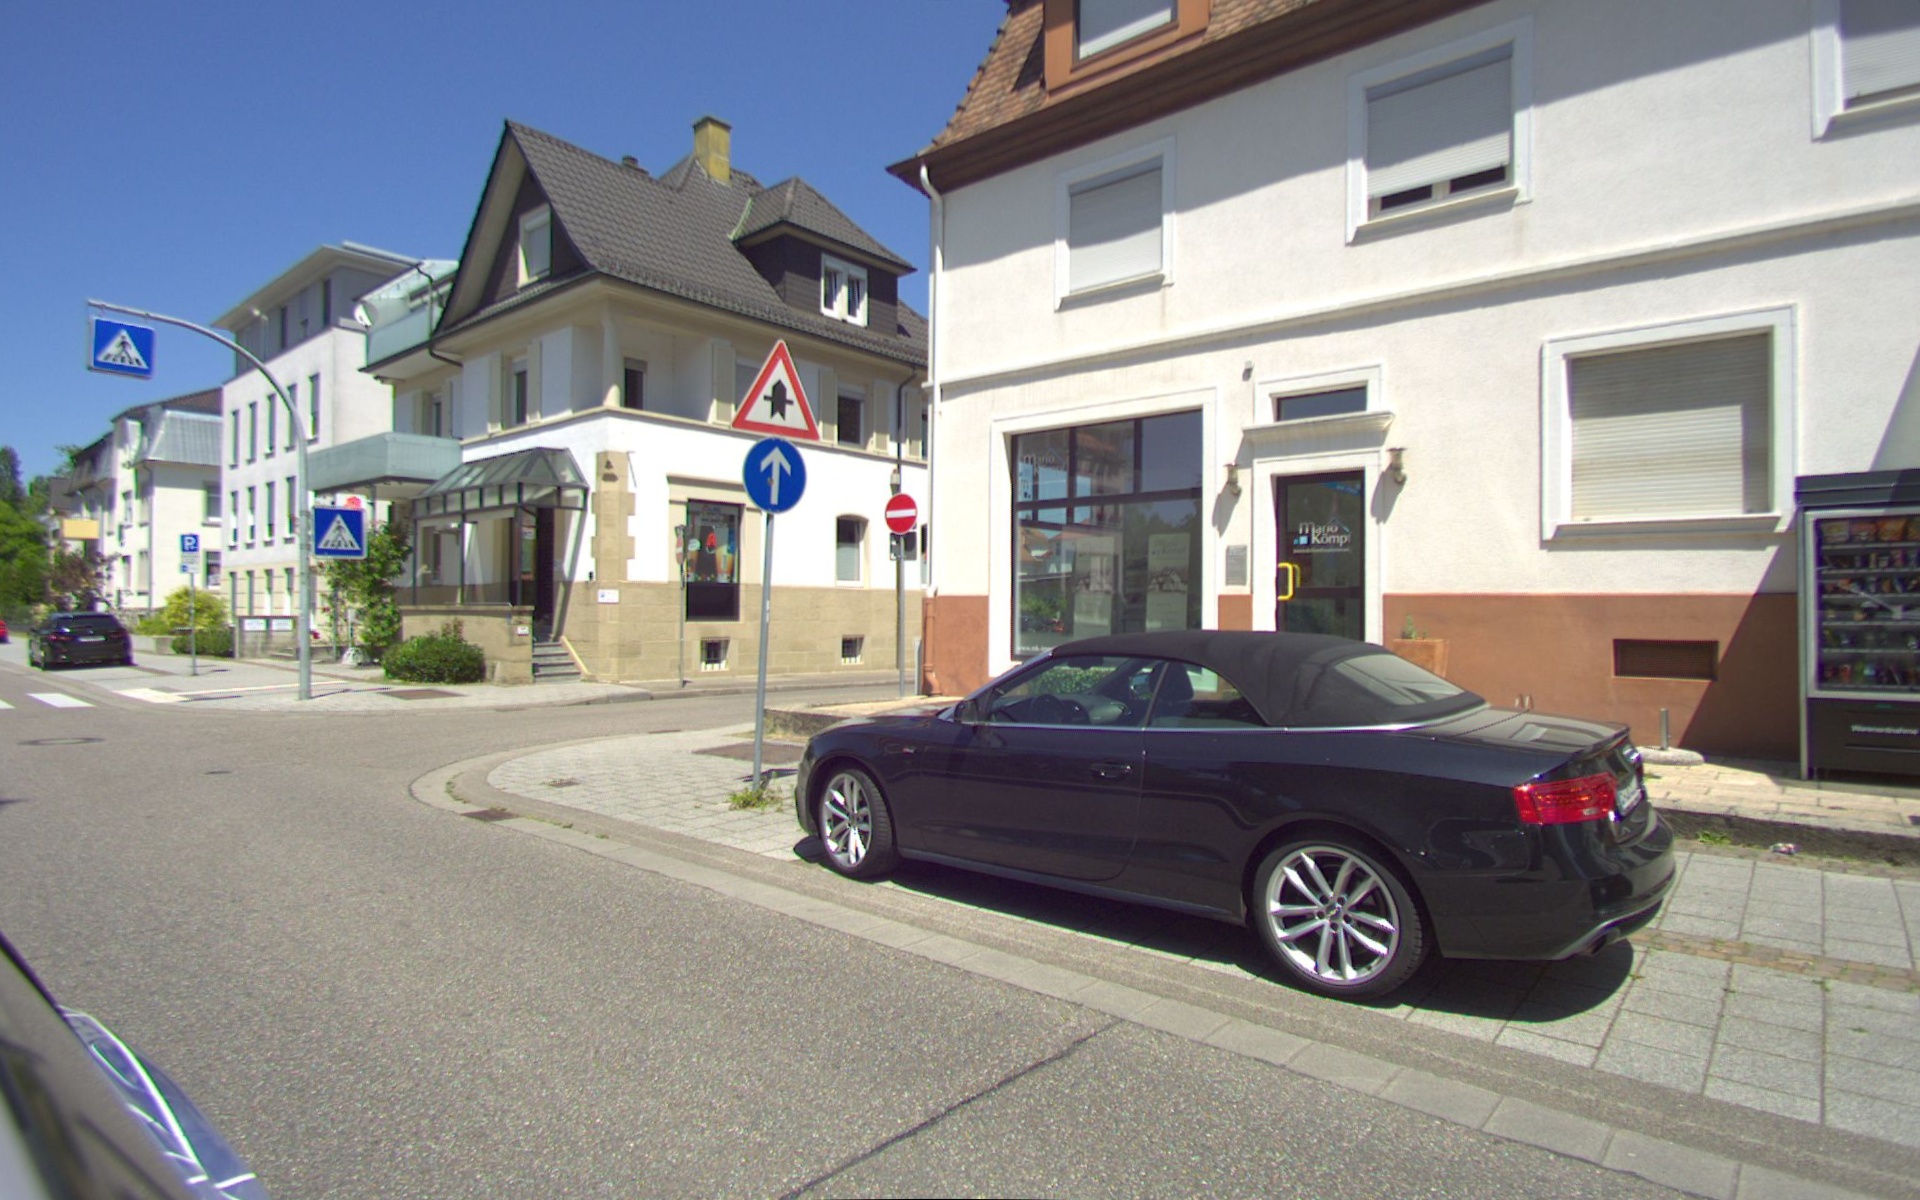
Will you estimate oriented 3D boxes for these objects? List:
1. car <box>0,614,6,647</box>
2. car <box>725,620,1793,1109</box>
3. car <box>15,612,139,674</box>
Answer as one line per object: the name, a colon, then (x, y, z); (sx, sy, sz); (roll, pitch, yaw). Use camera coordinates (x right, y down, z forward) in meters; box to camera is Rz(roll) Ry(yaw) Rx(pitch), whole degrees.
car: (-44.772, 1.420, 45.969); (4.259, 1.463, 1.714); (-1, 2, 42)
car: (1.055, 0.807, 5.349); (5.096, 1.384, 1.922); (-1, -1, 42)
car: (-24.212, 1.106, 27.681); (5.147, 1.463, 1.896); (-1, 2, 42)
